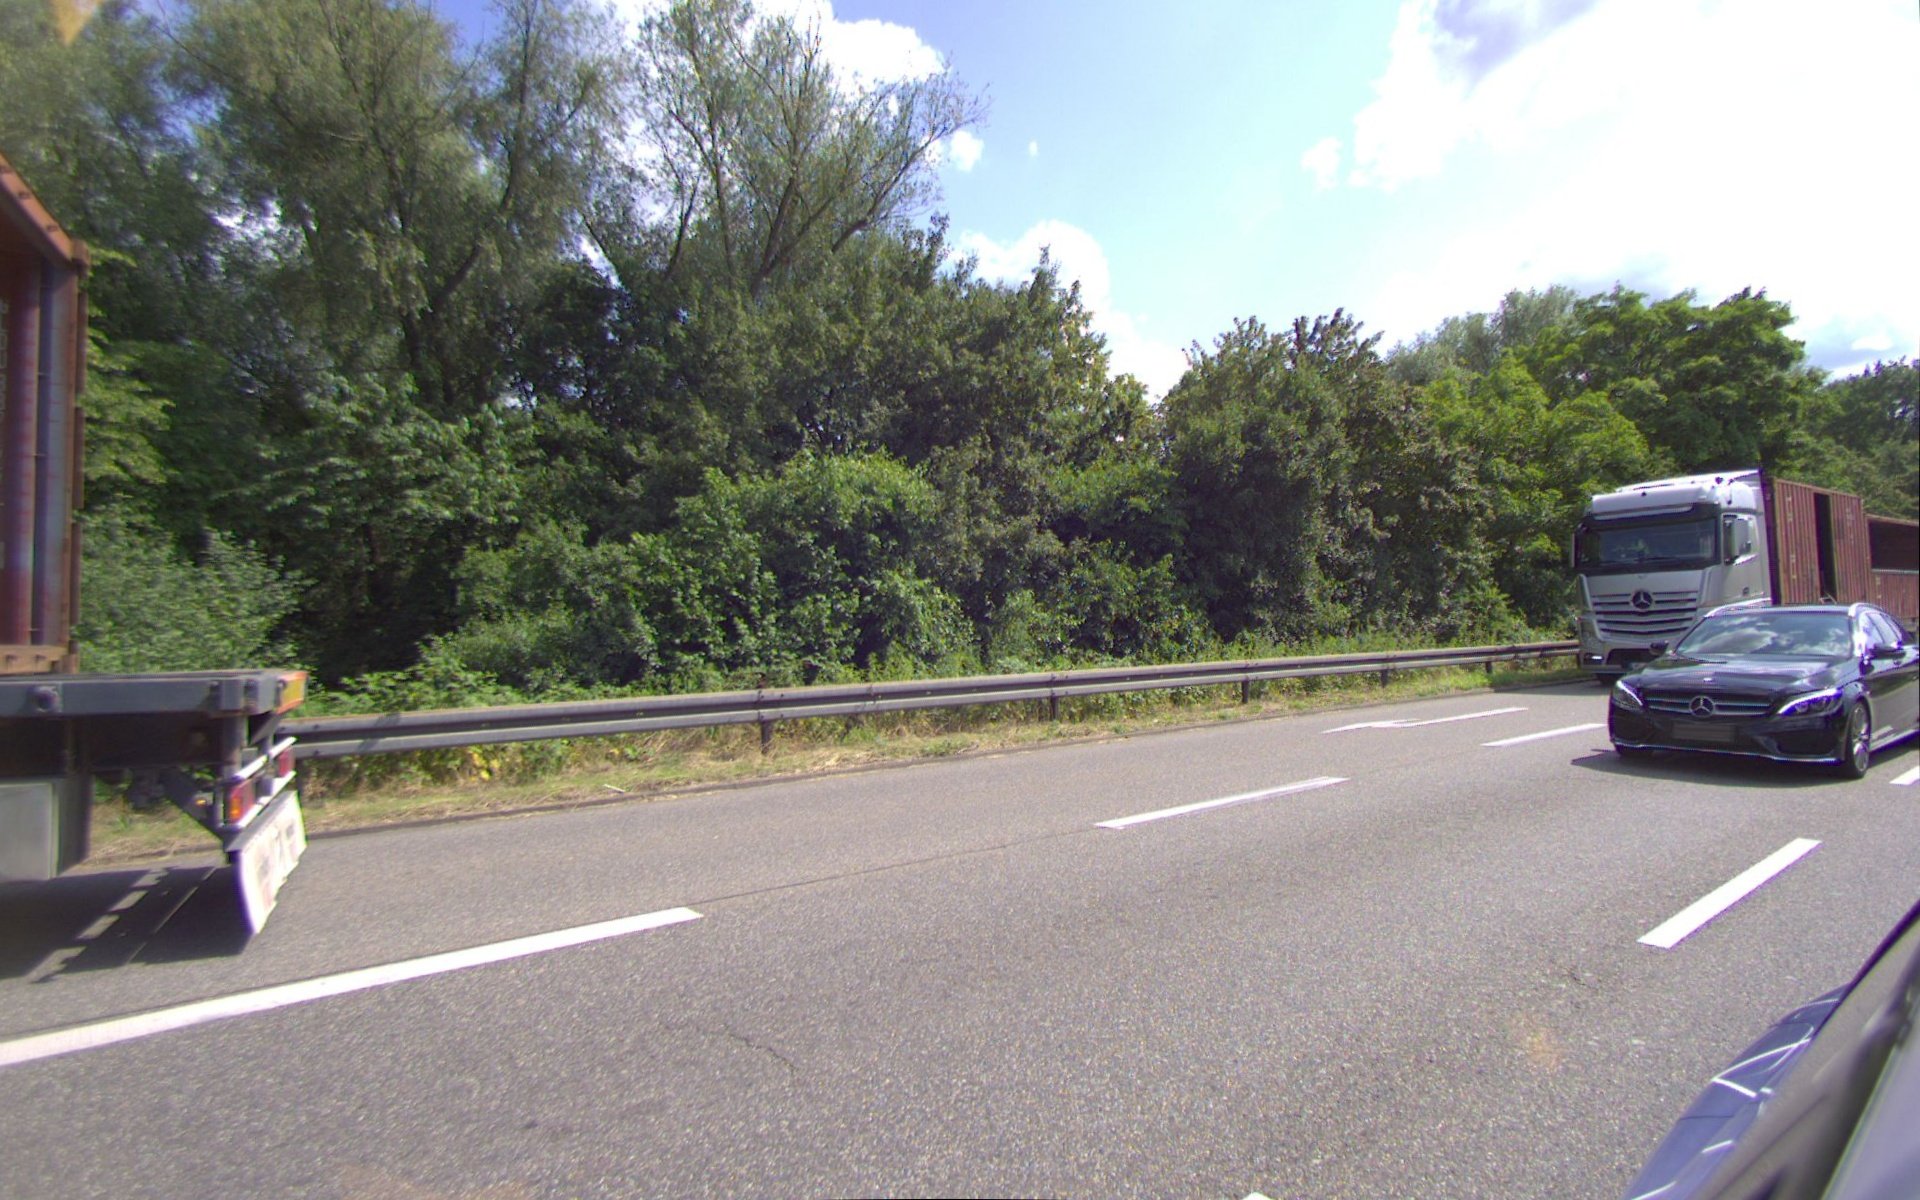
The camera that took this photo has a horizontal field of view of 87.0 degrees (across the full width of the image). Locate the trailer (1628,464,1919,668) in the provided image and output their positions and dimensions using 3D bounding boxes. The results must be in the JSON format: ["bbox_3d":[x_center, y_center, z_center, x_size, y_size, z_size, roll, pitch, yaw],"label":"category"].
[{"bbox_3d":[20.061,-0.622,23.912,12.086,3.900,2.780,0,-2,-35],"label":"trailer"}]

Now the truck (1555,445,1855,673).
[{"bbox_3d":[15.103,-0.655,20.366,6.691,3.895,2.777,0,-3,-36],"label":"truck"}]

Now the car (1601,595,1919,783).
[{"bbox_3d":[8.114,0.694,9.841,4.289,1.454,1.795,0,-1,-37],"label":"car"}]

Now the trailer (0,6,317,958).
[{"bbox_3d":[-9.632,-0.380,2.385,13.571,3.942,2.648,-1,-3,-30],"label":"trailer"}]
